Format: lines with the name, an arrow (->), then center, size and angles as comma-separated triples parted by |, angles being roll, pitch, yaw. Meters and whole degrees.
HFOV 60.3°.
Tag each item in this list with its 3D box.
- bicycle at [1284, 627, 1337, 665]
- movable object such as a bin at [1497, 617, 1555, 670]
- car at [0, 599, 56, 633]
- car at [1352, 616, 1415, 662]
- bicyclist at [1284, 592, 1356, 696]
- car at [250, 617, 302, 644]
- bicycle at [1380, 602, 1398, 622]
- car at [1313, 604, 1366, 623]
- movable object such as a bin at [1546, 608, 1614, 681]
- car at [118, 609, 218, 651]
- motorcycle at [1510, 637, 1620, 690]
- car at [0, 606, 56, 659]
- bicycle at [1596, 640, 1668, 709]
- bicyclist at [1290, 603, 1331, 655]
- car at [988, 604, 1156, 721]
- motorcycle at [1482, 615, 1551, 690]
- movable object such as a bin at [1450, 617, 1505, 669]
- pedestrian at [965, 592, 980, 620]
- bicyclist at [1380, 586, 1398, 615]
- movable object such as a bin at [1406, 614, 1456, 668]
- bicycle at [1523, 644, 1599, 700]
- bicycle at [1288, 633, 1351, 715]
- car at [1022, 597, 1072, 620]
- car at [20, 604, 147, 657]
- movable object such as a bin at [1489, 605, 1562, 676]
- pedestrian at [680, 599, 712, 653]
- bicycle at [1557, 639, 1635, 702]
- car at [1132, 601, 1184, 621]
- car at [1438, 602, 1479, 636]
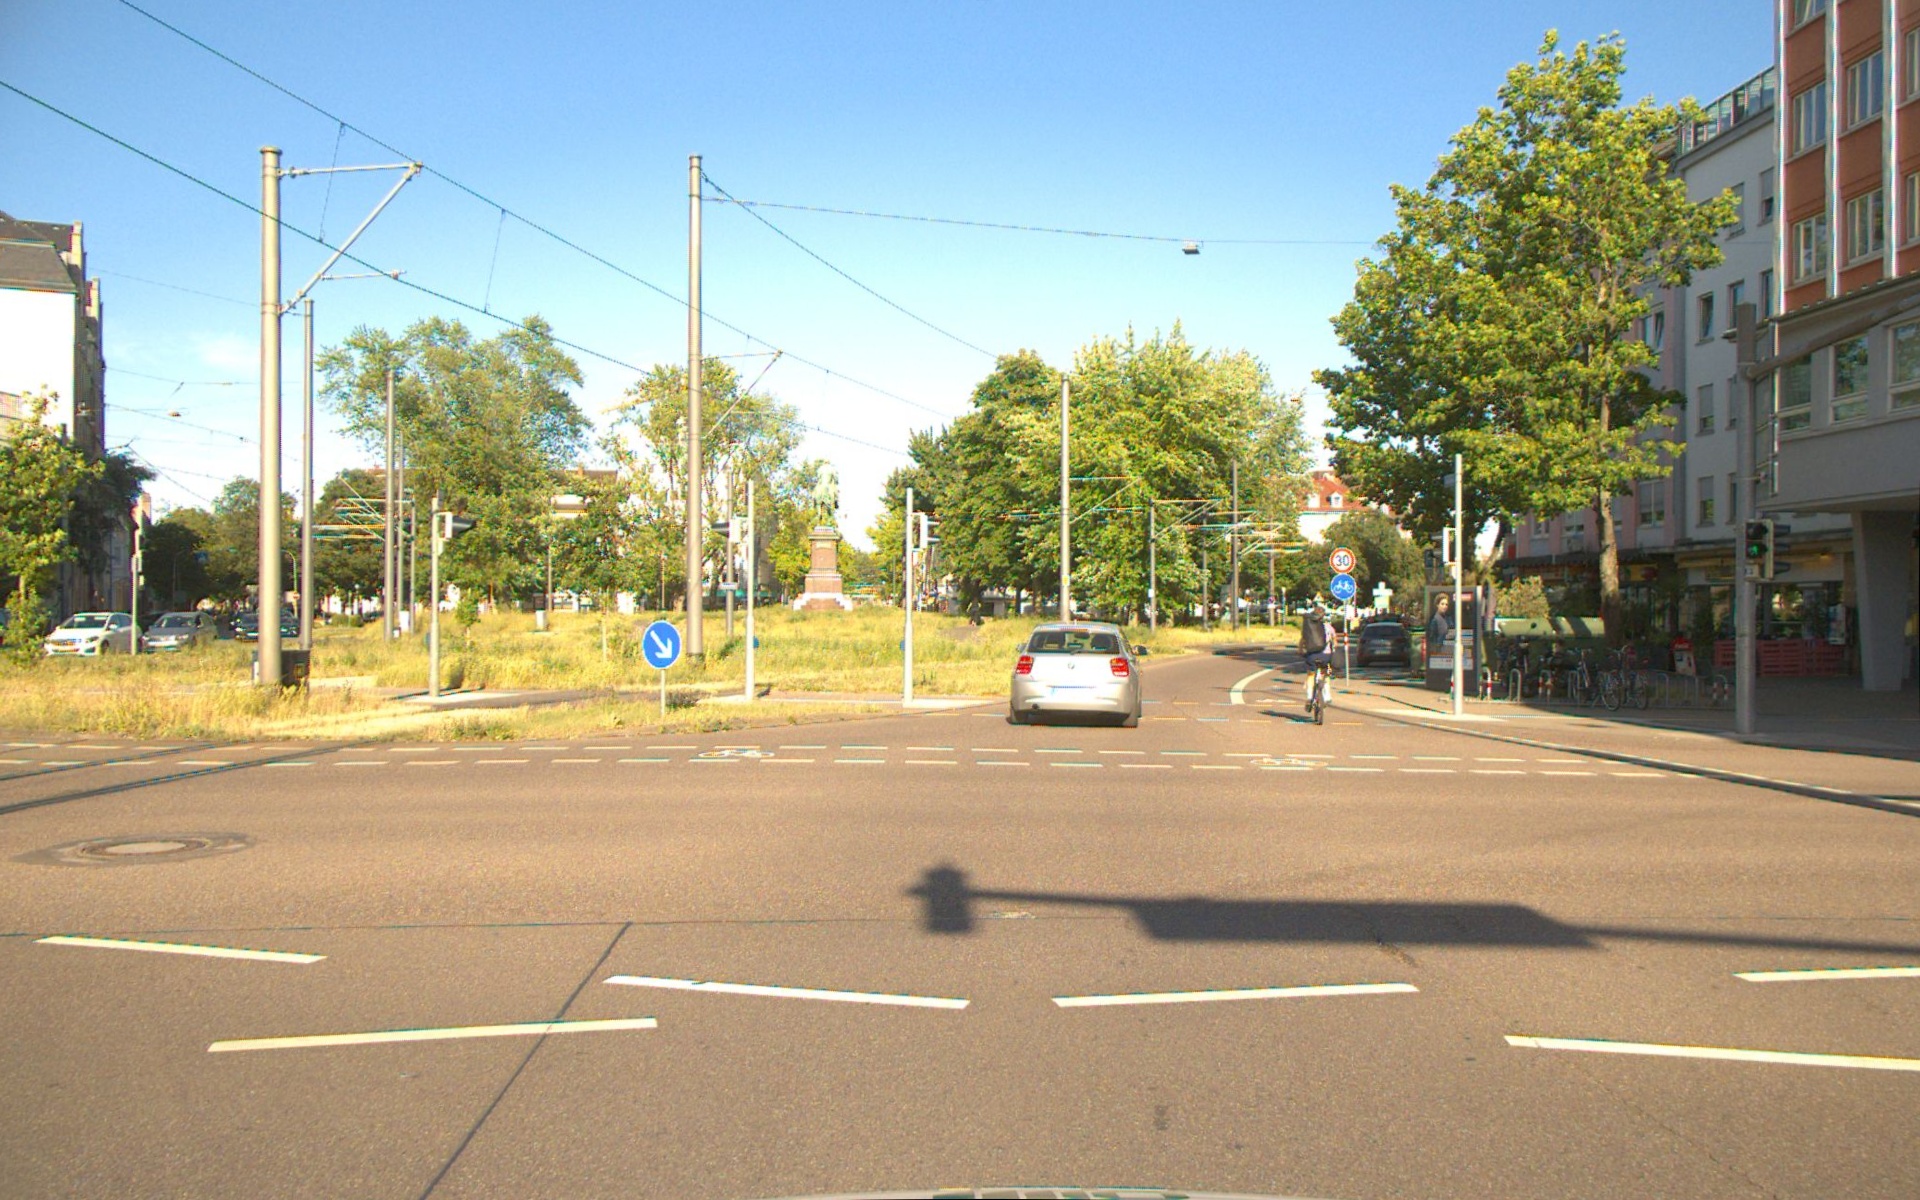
bicycle -> 11.543, 1.526, 54.403 | 0.808, 1.206, 1.952 | 1, -1, 42
movable object such as a bin -> 15.456, 1.182, 45.192 | 1.188, 1.415, 0.959 | 2, -1, -2
car -> -48.518, 0.785, 84.464 | 3.950, 1.609, 1.977 | 3, -1, -33
car -> 14.406, 1.299, 56.102 | 1.728, 1.463, 4.585 | -1, 0, 18
bicyclist -> 5.480, 0.663, 25.165 | 1.016, 1.510, 0.989 | 2, -1, 13
car -> -43.657, 1.973, 105.598 | 1.956, 1.540, 4.274 | 1, -4, -8
bicycle -> 22.078, 0.614, 85.134 | 0.639, 0.975, 2.698 | 2, -1, 19
car -> 41.476, 1.456, 180.739 | 5.162, 1.831, 2.161 | 2, -1, -6
movable object such as a bin -> 14.812, 1.059, 39.512 | 1.231, 1.739, 0.944 | 0, -2, -4
car -> -29.324, 1.092, 61.392 | 1.956, 1.452, 4.502 | 2, -1, -8
motorcycle -> 12.823, 1.345, 35.087 | 2.054, 1.039, 0.762 | 2, 0, -2
car -> -28.463, 0.912, 47.725 | 1.953, 1.473, 5.018 | 2, -1, -1
bicycle -> 13.183, 1.444, 32.486 | 0.521, 1.266, 1.846 | 2, -1, -5
bicyclist -> 11.515, 0.956, 54.348 | 0.926, 1.662, 0.929 | 1, -2, 43
car -> 1.701, 0.854, 23.680 | 1.951, 1.448, 4.200 | 2, -1, 9
motorcycle -> 12.445, 1.150, 37.092 | 0.785, 1.566, 2.546 | 2, 0, 3
movable object such as a bin -> 14.085, 1.165, 45.057 | 1.148, 1.380, 0.927 | 2, -1, -2
pedestrian -> 0.776, 0.354, 100.736 | 0.666, 1.644, 0.549 | 3, -1, -31
bicyclist -> 22.074, 0.028, 85.090 | 0.770, 1.478, 1.096 | 2, -1, 19
movable object such as a bin -> 12.890, 1.108, 45.272 | 1.253, 1.416, 0.922 | 2, -1, 15
bicycle -> 11.568, 1.372, 31.898 | 0.466, 1.002, 2.117 | 2, -1, -6
bicycle -> 5.484, 1.102, 25.182 | 0.867, 1.156, 2.230 | 2, -1, 13
car -> 9.383, 0.933, 178.281 | 5.229, 2.354, 1.999 | 2, -1, -2
car -> -28.891, 1.004, 54.707 | 1.955, 1.624, 4.651 | 2, -1, -5
movable object such as a bin -> 13.506, 0.962, 39.515 | 1.353, 1.668, 1.007 | 1, -1, -4
pedestrian -> -8.496, 0.835, 53.310 | 0.719, 1.700, 0.744 | 0, 0, 22
bicycle -> 12.263, 1.339, 31.941 | 0.466, 1.136, 2.117 | 2, -1, -6
car -> 21.999, 1.247, 183.995 | 5.468, 2.049, 1.815 | 2, -1, -6
car -> 29.005, 1.134, 96.199 | 1.952, 1.844, 4.309 | 2, -1, 20
